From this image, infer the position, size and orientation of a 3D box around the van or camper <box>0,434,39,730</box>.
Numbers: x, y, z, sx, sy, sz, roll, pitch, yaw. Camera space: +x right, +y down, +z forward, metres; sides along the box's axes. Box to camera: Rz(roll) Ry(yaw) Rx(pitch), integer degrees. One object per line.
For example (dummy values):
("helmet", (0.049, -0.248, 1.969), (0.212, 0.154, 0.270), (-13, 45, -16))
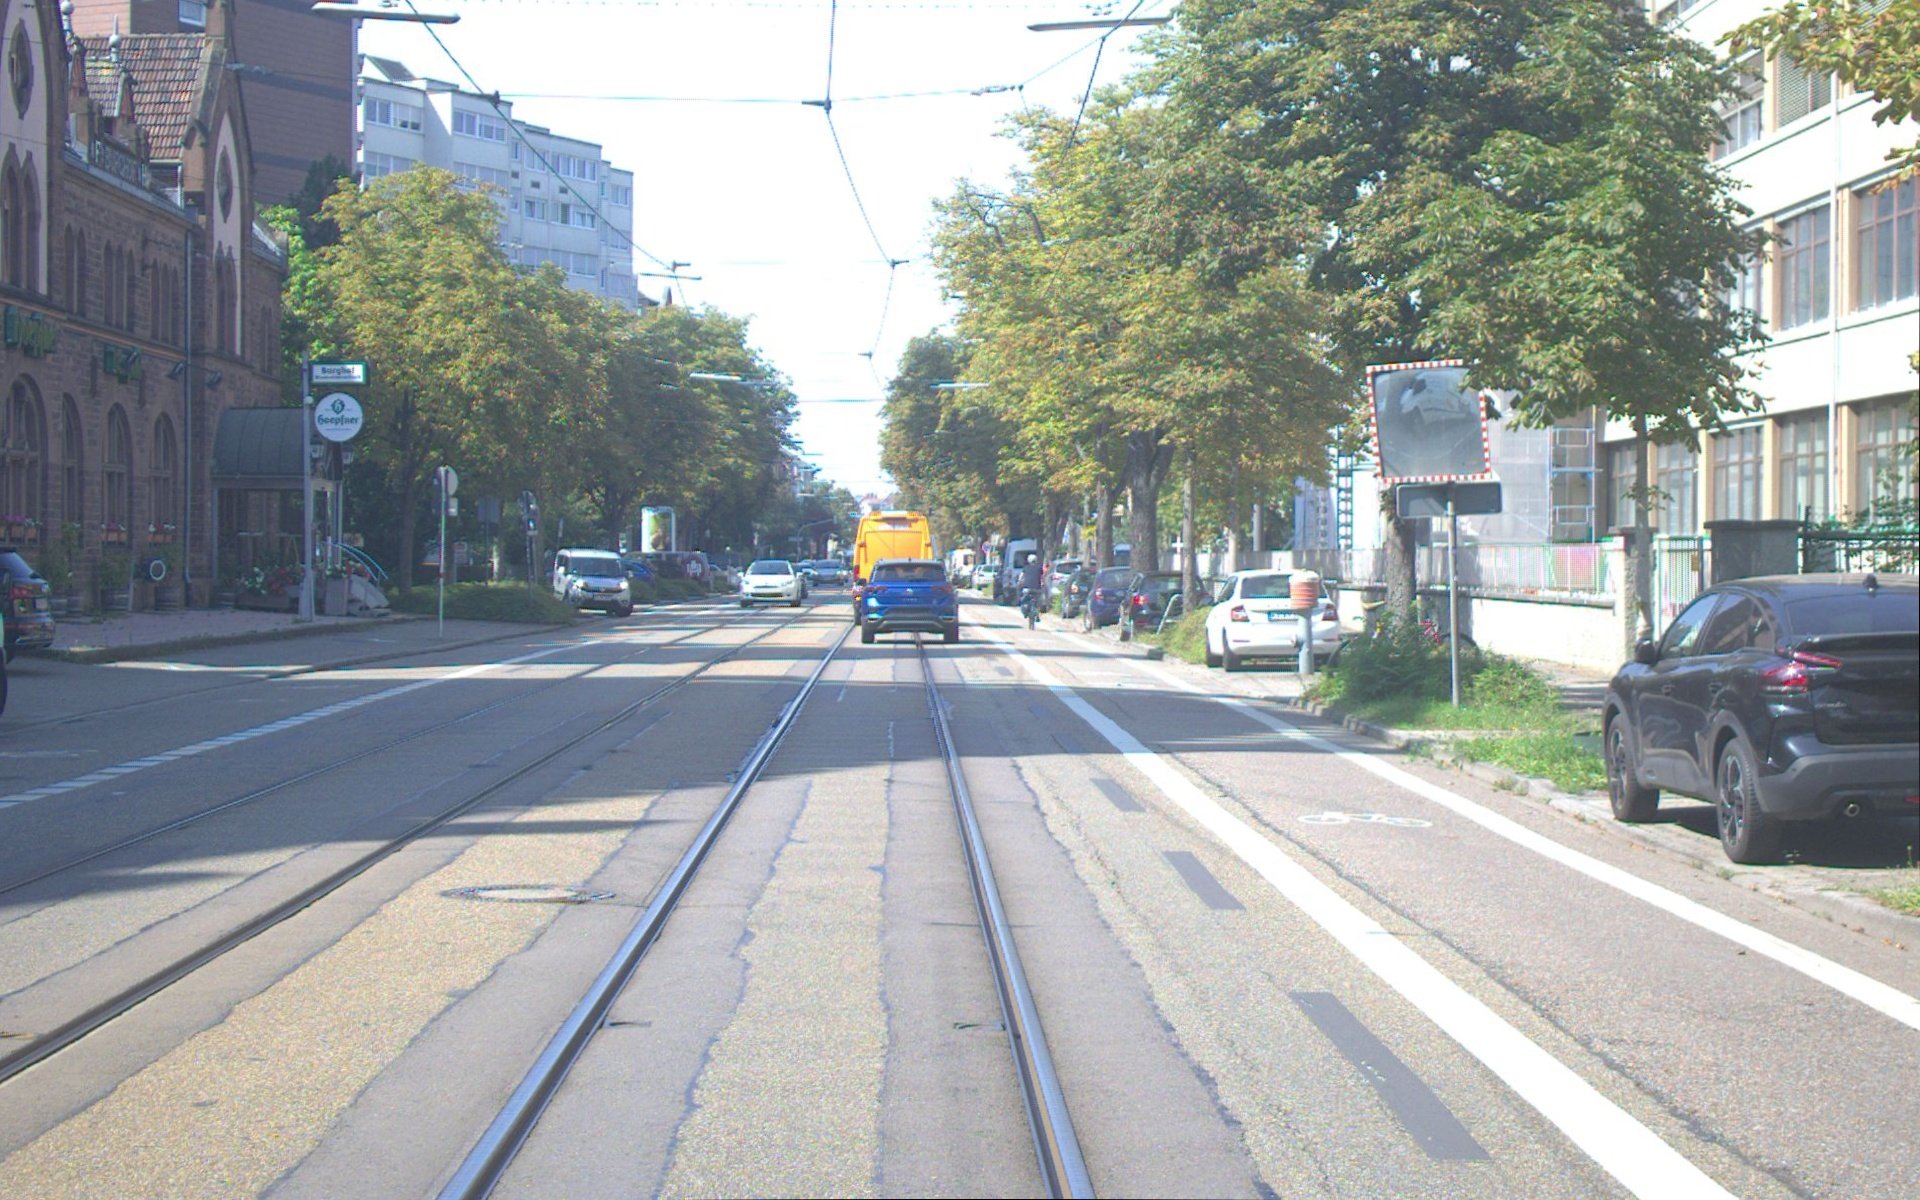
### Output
("van or camper", (-9.704, -0.164, 29.127), (2.113, 2.666, 5.955), (1, 0, 0))

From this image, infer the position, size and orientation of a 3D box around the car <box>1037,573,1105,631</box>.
("car", (3.323, 0.043, 103.972), (1.740, 1.662, 4.362), (1, 0, -2))

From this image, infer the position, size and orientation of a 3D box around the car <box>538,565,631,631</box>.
("car", (-10.681, -0.076, 97.540), (1.746, 1.790, 4.001), (1, 0, -19))

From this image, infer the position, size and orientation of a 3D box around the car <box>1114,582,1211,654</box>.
("car", (4.053, 0.351, 69.234), (1.659, 1.403, 4.217), (0, 0, 0))

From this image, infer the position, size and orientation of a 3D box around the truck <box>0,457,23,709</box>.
("truck", (-12.766, -0.352, 33.947), (6.321, 2.529, 2.130), (4, 2, 4))

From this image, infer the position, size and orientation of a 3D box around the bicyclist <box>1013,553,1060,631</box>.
("bicyclist", (1.793, -0.200, 80.718), (1.031, 1.806, 1.016), (1, 0, -1))

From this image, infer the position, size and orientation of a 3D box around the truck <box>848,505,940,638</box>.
("truck", (-1.587, -0.685, 83.487), (2.135, 3.114, 6.085), (0, 0, -1))

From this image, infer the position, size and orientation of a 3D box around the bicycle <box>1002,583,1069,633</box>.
("bicycle", (1.751, 0.176, 80.716), (1.401, 1.130, 4.000), (1, 0, -1))

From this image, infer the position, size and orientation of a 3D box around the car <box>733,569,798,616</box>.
("car", (-6.259, -0.257, 110.900), (1.847, 1.486, 4.867), (0, 0, 0))

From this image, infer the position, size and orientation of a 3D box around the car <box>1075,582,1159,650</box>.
("car", (3.672, 0.366, 80.782), (1.743, 1.550, 4.217), (0, 0, 0))

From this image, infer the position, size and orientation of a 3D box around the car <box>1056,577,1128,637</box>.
("car", (3.577, 0.175, 93.880), (1.633, 1.579, 4.189), (1, 0, -2))

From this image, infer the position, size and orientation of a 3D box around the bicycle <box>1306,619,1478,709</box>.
("bicycle", (4.780, 0.707, 38.098), (1.812, 0.955, 0.558), (1, 0, -1))

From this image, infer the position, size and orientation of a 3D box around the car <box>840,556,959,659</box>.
("car", (-1.126, 0.117, 64.498), (2.135, 1.852, 5.568), (0, 0, -1))

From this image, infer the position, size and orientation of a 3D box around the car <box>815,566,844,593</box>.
("car", (-8.191, -1.292, 216.154), (1.780, 1.678, 4.347), (1, 0, -2))

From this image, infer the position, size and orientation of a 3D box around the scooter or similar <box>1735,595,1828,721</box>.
("scooter or similar", (8.542, 0.588, 35.814), (0.556, 1.255, 1.818), (1, 0, 2))

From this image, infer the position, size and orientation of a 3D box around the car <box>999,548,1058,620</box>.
("car", (2.666, -0.651, 135.080), (1.993, 2.746, 5.761), (1, 0, -2))

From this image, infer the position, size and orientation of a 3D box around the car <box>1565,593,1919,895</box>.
("car", (4.883, 0.734, 19.974), (1.755, 1.510, 4.610), (0, 0, -2))

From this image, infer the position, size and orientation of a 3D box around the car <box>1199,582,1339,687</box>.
("car", (4.523, 0.480, 50.855), (1.659, 1.476, 4.217), (0, 0, 0))

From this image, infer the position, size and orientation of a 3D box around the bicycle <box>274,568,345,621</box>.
("bicycle", (-14.555, -0.128, 76.896), (1.451, 1.089, 0.399), (4, 0, -5))

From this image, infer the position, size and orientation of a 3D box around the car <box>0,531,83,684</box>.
("car", (-12.816, -0.032, 40.927), (4.135, 1.738, 2.000), (4, 0, 0))
